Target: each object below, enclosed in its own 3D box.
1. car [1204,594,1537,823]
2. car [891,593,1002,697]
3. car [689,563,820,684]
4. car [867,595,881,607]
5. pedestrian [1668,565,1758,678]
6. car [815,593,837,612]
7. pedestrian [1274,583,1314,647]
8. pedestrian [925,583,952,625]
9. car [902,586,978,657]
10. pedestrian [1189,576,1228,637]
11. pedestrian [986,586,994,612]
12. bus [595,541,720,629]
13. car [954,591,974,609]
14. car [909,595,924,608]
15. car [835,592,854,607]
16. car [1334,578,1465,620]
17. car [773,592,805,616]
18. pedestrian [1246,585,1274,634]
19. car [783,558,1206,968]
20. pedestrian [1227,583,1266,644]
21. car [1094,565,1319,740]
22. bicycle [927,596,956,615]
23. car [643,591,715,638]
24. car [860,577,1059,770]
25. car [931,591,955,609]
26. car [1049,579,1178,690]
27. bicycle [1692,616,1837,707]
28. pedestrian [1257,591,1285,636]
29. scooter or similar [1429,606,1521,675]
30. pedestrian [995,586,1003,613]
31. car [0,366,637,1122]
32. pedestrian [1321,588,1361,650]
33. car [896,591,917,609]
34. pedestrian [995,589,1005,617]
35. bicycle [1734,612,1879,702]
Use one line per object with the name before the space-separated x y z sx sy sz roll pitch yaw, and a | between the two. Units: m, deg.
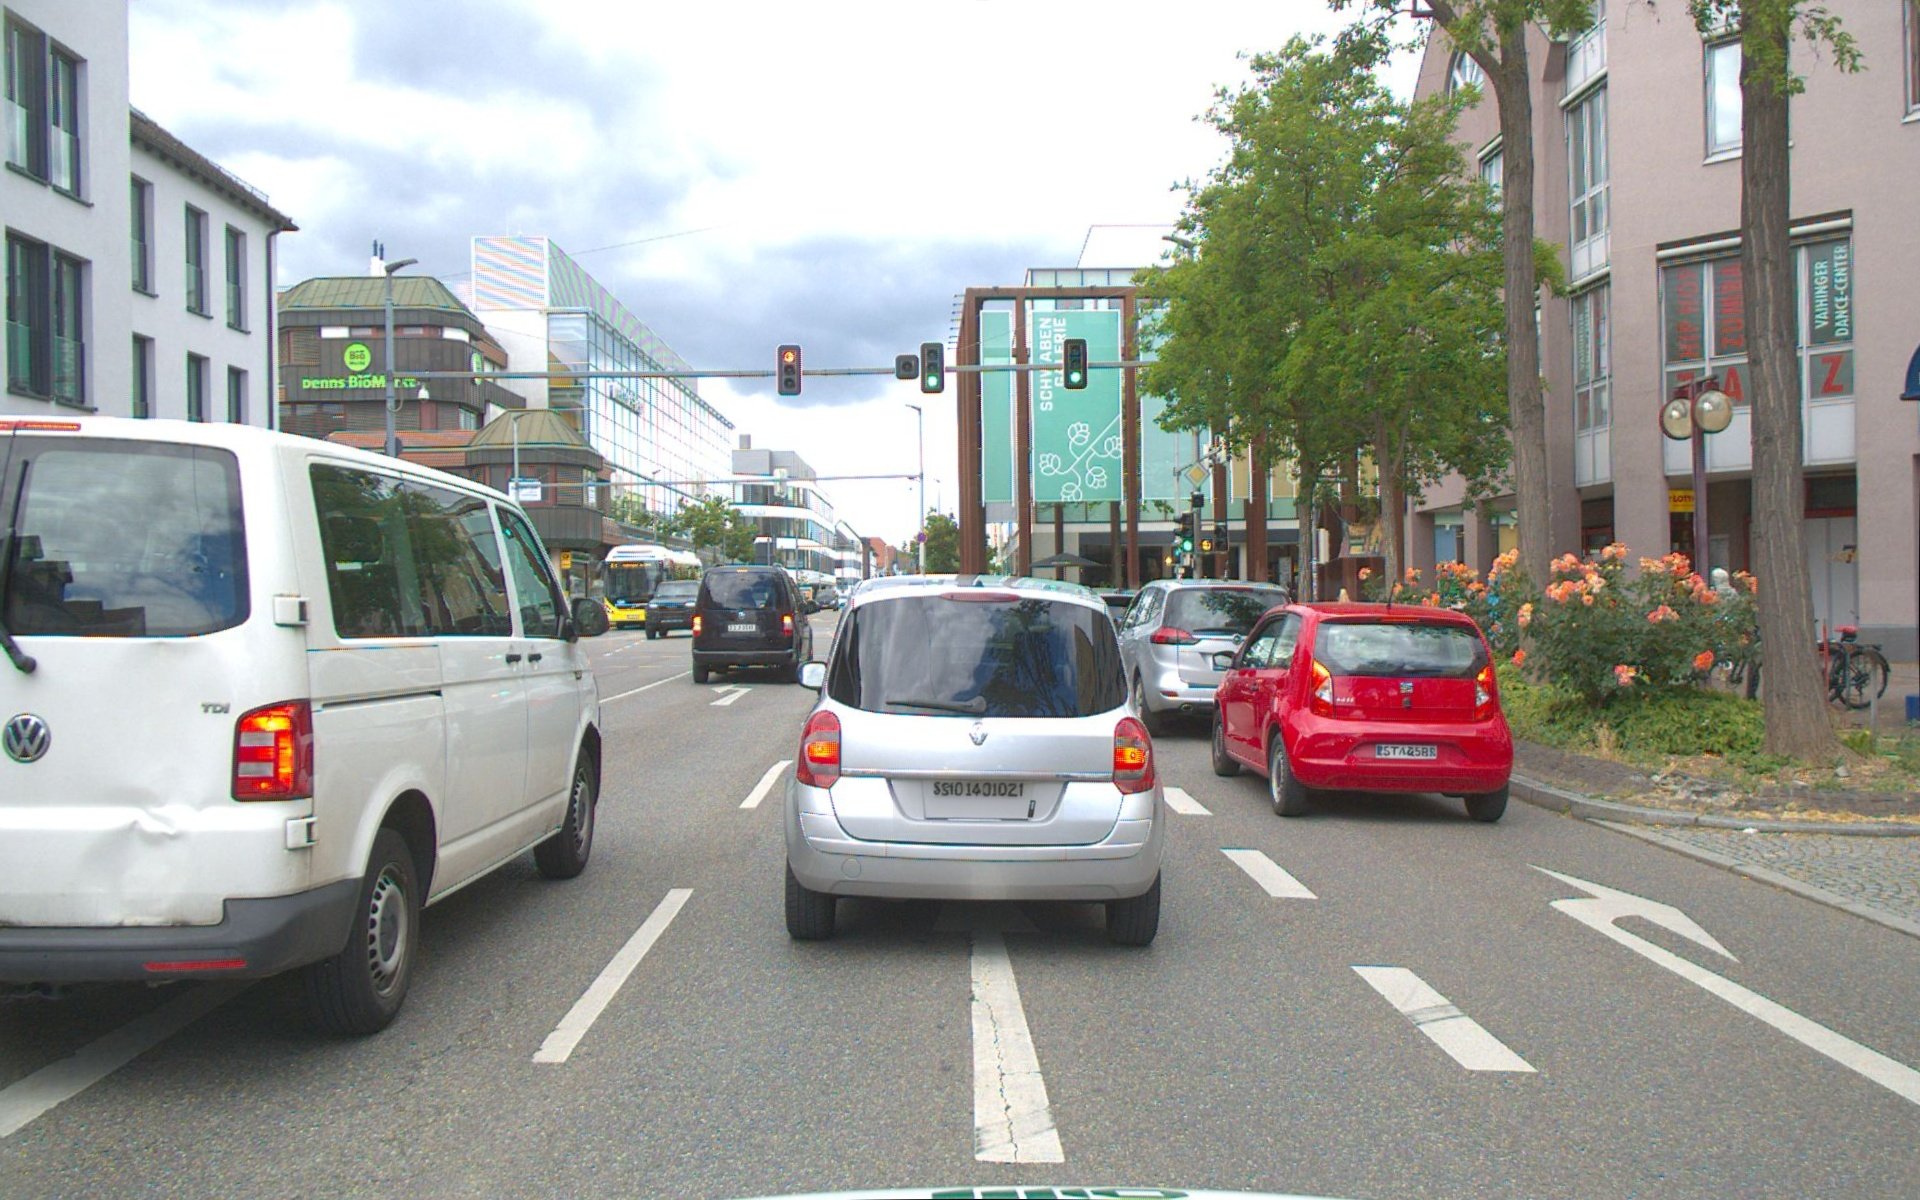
car | 2.979 0.709 12.733 1.593 1.473 3.641 1 0 -1
car | -0.230 0.663 26.490 1.636 1.521 3.641 1 0 -1
car | -3.383 0.353 27.923 1.673 1.852 4.571 1 0 -1
car | -11.179 0.172 215.920 1.626 1.491 4.000 -2 0 -1
pedestrian | 11.314 0.313 24.891 0.792 1.654 1.093 -1 0 -3
car | -11.639 0.205 144.086 1.626 1.491 4.000 -2 0 -1
pedestrian | 9.618 0.429 47.633 0.861 1.798 1.119 -1 0 -4
pedestrian | -0.873 0.158 66.624 0.854 1.675 0.678 0 0 33
car | -0.467 0.453 37.950 1.636 1.521 3.641 1 0 -1
pedestrian | 7.094 0.171 47.245 0.861 1.711 1.119 -1 0 -4
pedestrian | 1.809 -0.060 98.339 0.418 1.576 0.481 -1 0 -3
bus | -13.028 -0.665 72.540 2.926 3.385 12.307 -3 1 0
car | 0.357 0.000 157.626 1.839 1.591 4.000 1 0 0
car | -5.160 0.195 196.743 1.626 1.491 4.000 -2 0 -1
car | -11.854 -0.068 169.814 1.626 1.491 4.000 -2 0 -1
car | 15.299 -0.043 57.670 4.090 1.428 1.799 0 0 -4
car | -11.072 0.252 107.398 1.626 1.491 4.000 -2 0 -1
pedestrian | 10.434 0.316 57.545 0.727 1.654 0.953 -1 0 -4
car | 0.112 0.633 8.326 1.636 1.581 3.641 1 0 -1
pedestrian | 8.178 0.366 47.239 0.861 1.711 1.119 -1 0 -4
car | 2.669 0.519 18.899 1.705 1.730 4.378 1 0 -3
bicycle | -0.977 0.281 88.055 1.528 1.010 0.752 -1 0 2
car | -9.355 0.469 55.381 1.723 1.474 4.035 -1 0 -1
car | -0.027 0.602 15.641 1.636 1.581 3.641 1 0 -1
car | -1.363 -0.041 132.334 1.839 1.358 4.000 1 0 0
car | 2.553 0.536 28.393 1.704 1.730 4.380 1 0 -1
bicycle | 9.820 0.732 20.220 1.541 1.067 0.404 -1 0 41
pedestrian | 11.329 0.475 60.272 0.805 1.623 1.039 0 0 -1
scooter or similar | 8.680 0.672 27.940 0.462 1.106 1.878 -1 0 -18
pedestrian | 2.320 -0.049 98.326 0.418 1.576 0.481 -1 0 -3
car | -2.780 0.371 6.915 1.953 2.049 4.839 1 0 -1
pedestrian | 11.330 0.565 49.197 0.861 1.798 1.119 -1 0 -4
car | -4.615 -0.022 142.742 1.626 1.491 4.000 -2 0 -1
pedestrian | 1.826 0.139 74.636 0.438 1.241 0.607 -1 0 2
bicycle | 10.455 0.694 20.452 1.541 1.067 0.404 -1 0 41
